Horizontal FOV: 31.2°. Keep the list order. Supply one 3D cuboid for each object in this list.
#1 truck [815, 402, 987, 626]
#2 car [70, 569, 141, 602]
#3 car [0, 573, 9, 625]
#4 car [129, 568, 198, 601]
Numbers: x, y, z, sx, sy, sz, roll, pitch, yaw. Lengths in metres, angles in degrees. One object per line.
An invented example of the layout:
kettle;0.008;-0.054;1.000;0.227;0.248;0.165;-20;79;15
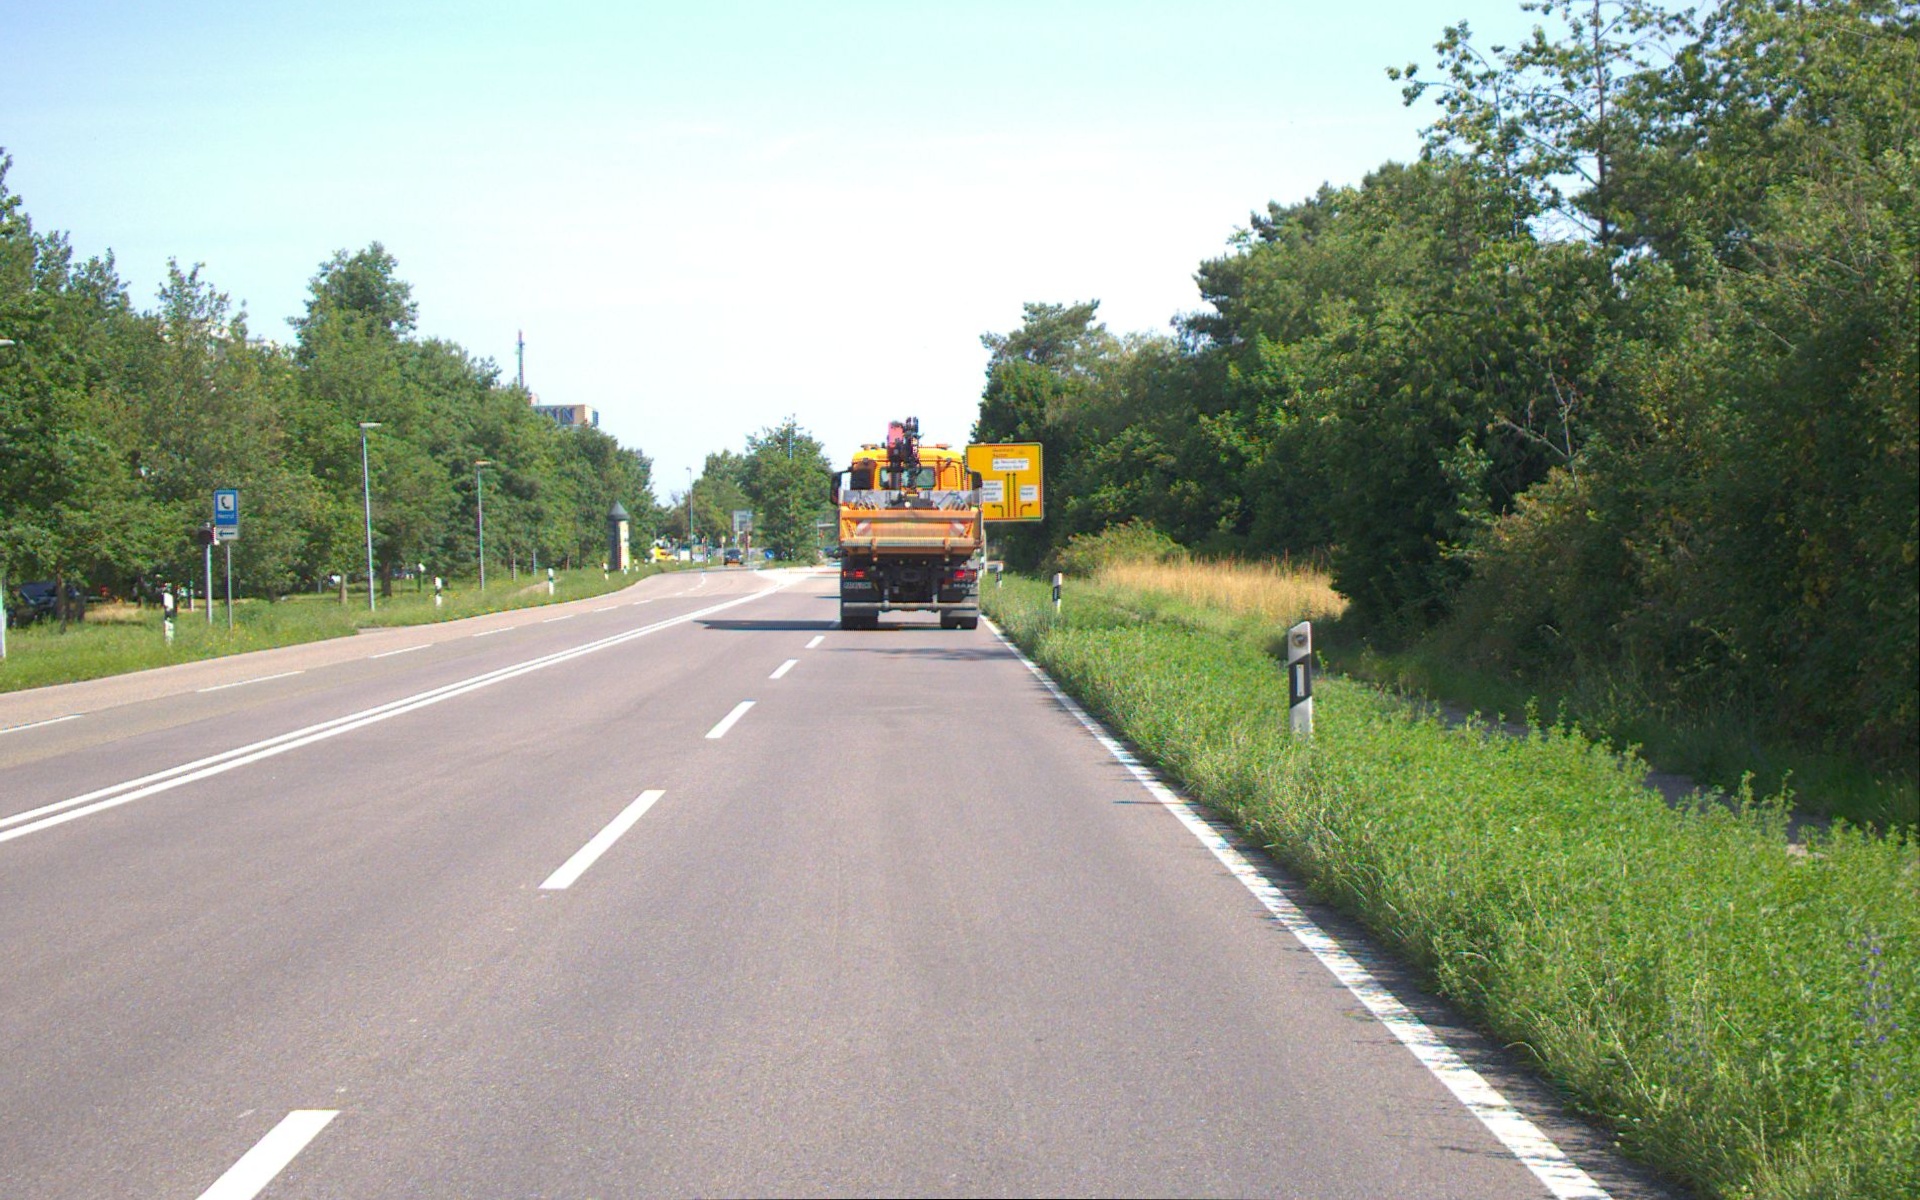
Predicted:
truck;-1.180;-1.558;63.584;2.871;3.867;7.401;1;1;-3
car;-40.015;-0.677;161.022;1.993;1.432;4.955;-1;1;1
car;-30.054;0.012;103.314;1.743;1.573;4.549;-1;1;-1
car;-37.420;-0.761;161.639;1.993;1.432;4.955;-1;1;1
